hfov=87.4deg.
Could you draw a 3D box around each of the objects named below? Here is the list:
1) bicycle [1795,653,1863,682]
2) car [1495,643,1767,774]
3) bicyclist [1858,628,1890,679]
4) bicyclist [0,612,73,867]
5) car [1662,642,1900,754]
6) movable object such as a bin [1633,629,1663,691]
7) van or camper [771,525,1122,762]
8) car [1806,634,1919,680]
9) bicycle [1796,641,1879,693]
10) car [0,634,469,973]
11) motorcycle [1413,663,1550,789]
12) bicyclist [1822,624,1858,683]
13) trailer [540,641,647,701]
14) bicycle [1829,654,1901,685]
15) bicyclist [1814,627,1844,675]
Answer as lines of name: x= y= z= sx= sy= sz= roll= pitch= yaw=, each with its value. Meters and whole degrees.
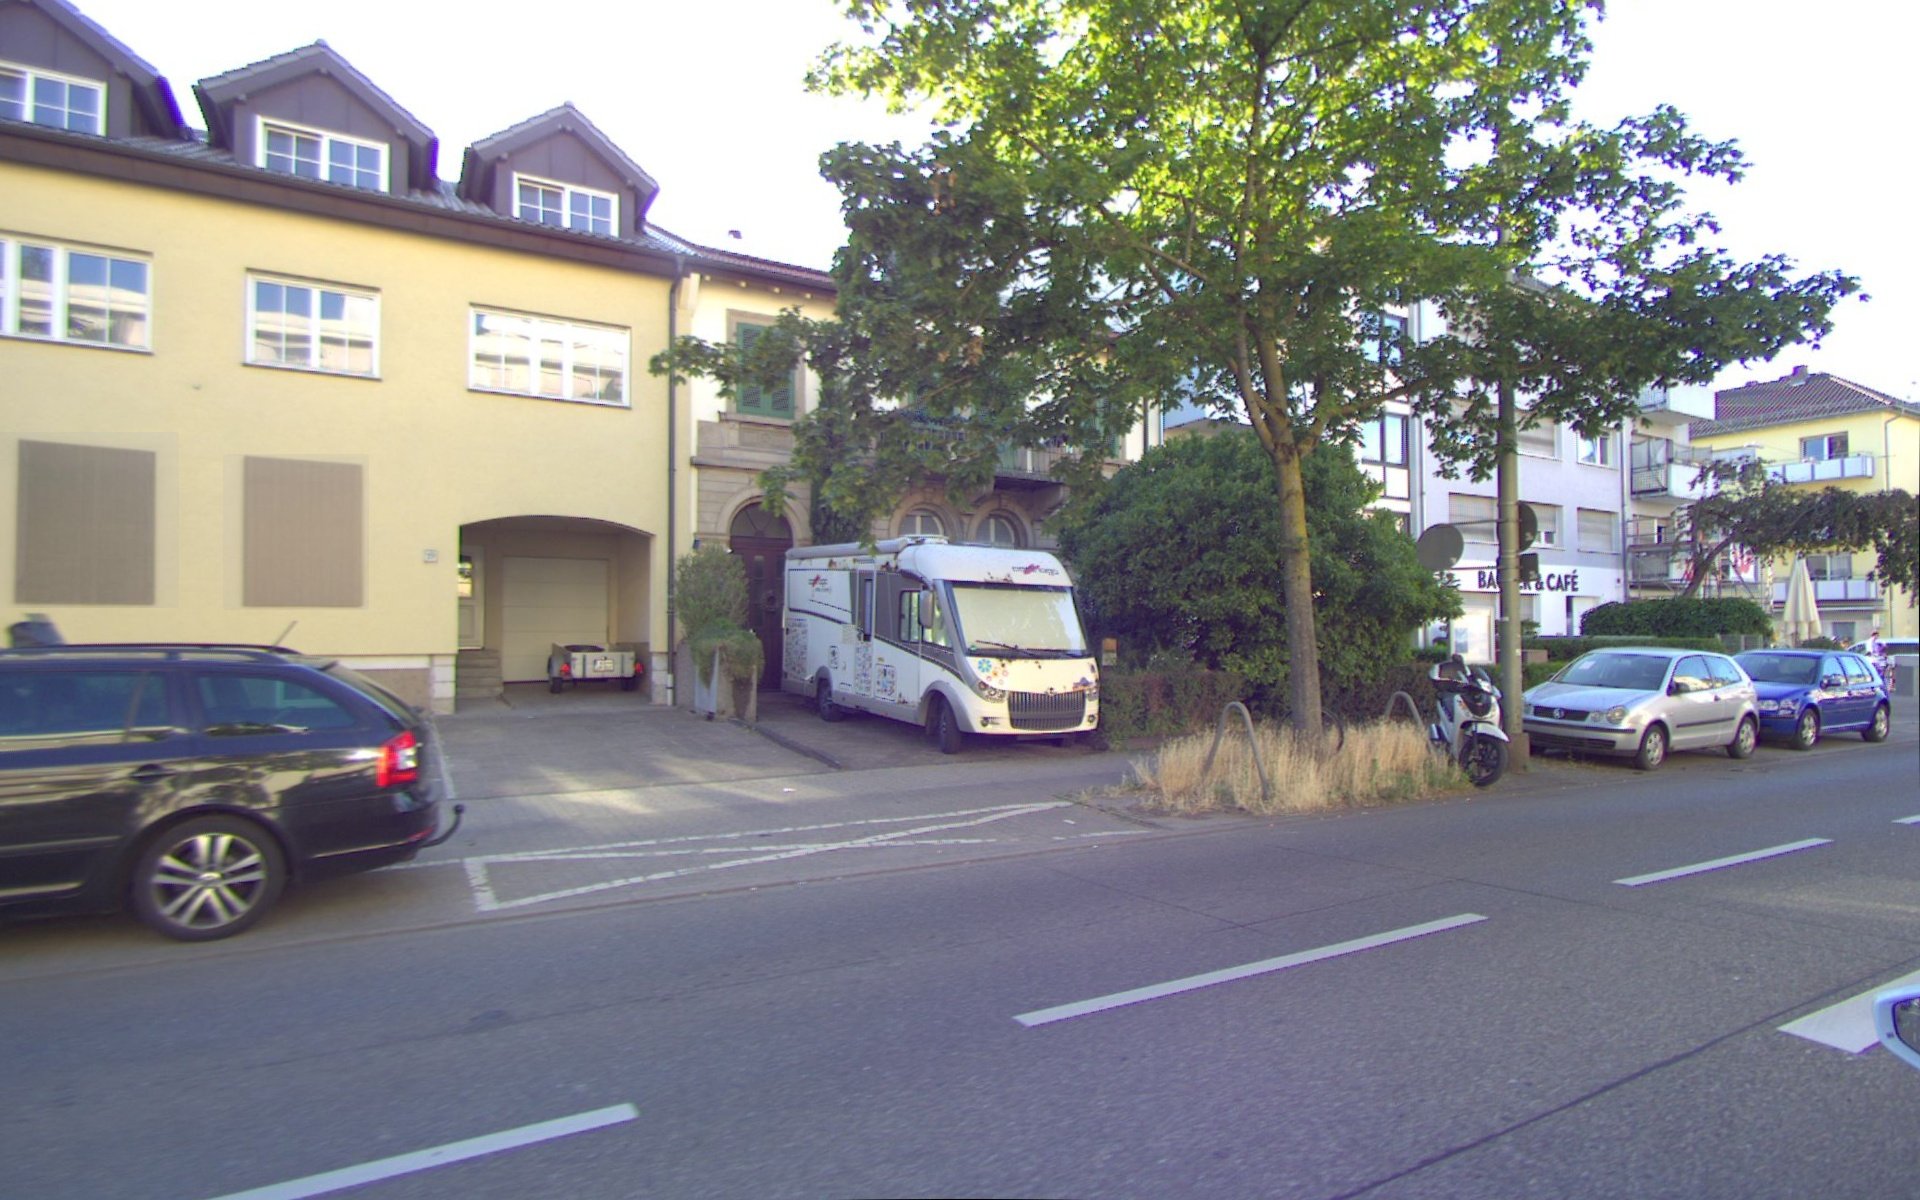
bicycle: x=33.388 y=2.580 z=38.616 sx=0.713 sy=1.085 sz=1.885 roll=2 pitch=-3 yaw=-39
car: x=9.152 y=1.373 z=13.642 sx=3.759 sy=1.490 sz=1.586 roll=2 pitch=0 yaw=-30
bicyclist: x=33.489 y=1.945 z=36.805 sx=0.648 sy=1.847 sz=0.733 roll=2 pitch=-3 yaw=-39
bicyclist: x=-6.484 y=0.929 z=6.841 sx=0.546 sy=1.685 sz=0.466 roll=1 pitch=-2 yaw=-31
car: x=13.097 y=1.465 z=15.983 sx=4.026 sy=1.537 sz=1.641 roll=2 pitch=-1 yaw=-30
movable object such as a bin: x=16.385 y=1.422 z=23.931 sx=0.569 sy=1.446 sz=0.390 roll=1 pitch=-2 yaw=-32
van or camper: x=-0.611 y=0.515 z=15.436 sx=2.325 sy=2.809 sz=6.763 roll=1 pitch=0 yaw=-30
car: x=38.726 y=2.367 z=42.130 sx=1.840 sy=1.835 sz=4.613 roll=2 pitch=-3 yaw=-30
bicycle: x=30.501 y=2.308 z=34.940 sx=0.749 sy=1.728 sz=2.011 roll=2 pitch=-2 yaw=-32
car: x=-5.147 y=0.966 z=5.311 sx=4.464 sy=1.514 sz=1.859 roll=2 pitch=-1 yaw=-30
motorcycle: x=5.942 y=1.383 z=11.583 sx=0.751 sy=1.281 sz=2.056 roll=0 pitch=-2 yaw=8
bicyclist: x=30.612 y=1.851 z=34.932 sx=0.835 sy=2.040 sz=0.721 roll=2 pitch=-2 yaw=-33
trailer: x=-7.267 y=1.355 z=19.837 sx=1.608 sy=0.973 sz=2.393 roll=1 pitch=0 yaw=-30
bicycle: x=33.320 y=2.562 z=36.998 sx=0.713 sy=1.085 sz=1.885 roll=2 pitch=-3 yaw=-39
bicyclist: x=33.414 y=1.961 z=38.638 sx=0.648 sy=1.847 sz=0.733 roll=2 pitch=-3 yaw=-39
